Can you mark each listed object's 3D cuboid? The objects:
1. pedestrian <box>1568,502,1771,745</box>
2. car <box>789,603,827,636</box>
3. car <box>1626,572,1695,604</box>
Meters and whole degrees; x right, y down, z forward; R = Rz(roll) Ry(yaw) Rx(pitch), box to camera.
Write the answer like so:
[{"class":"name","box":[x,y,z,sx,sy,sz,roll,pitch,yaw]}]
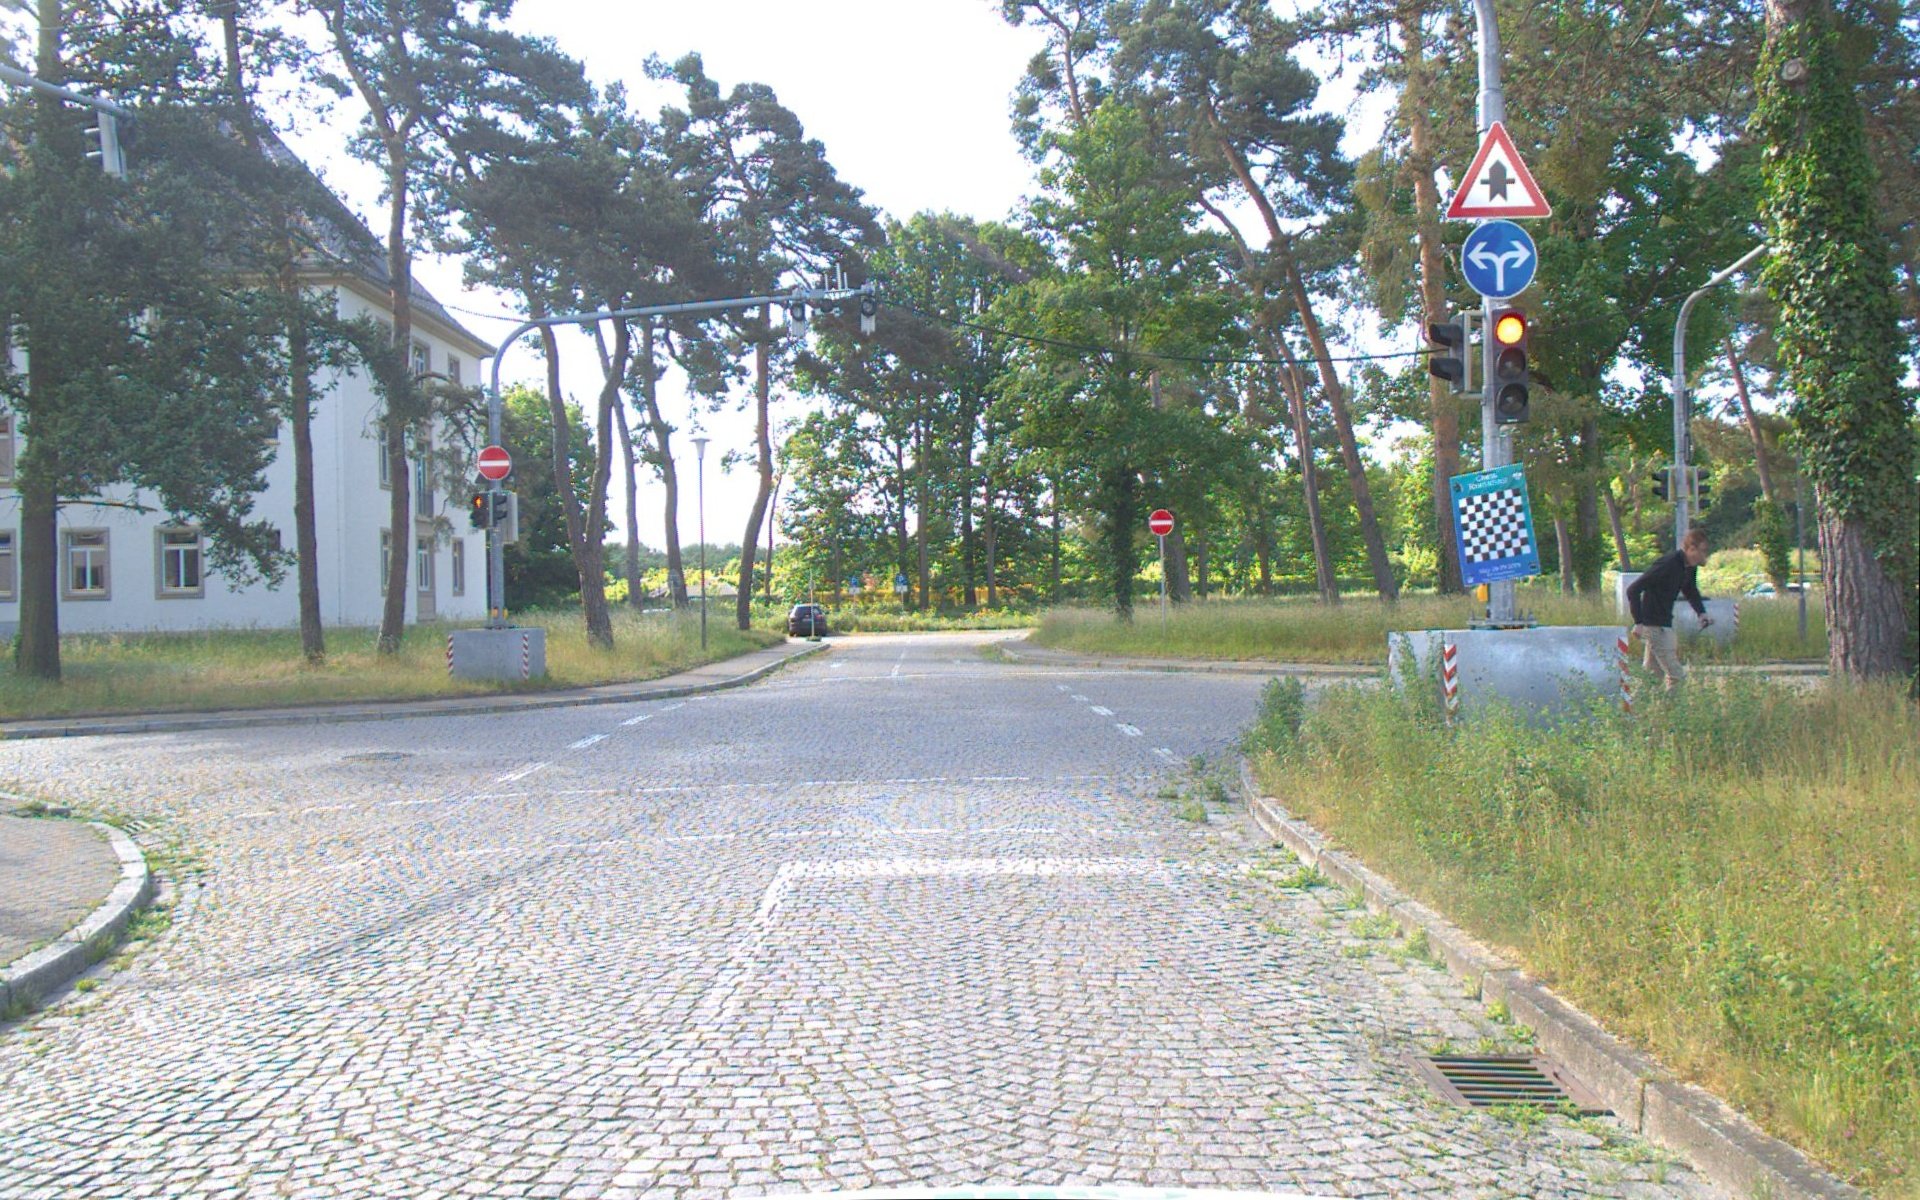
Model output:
[{"class":"pedestrian","box":[5.673,0.170,13.227,1.161,1.827,1.047,-2,0,-41]},{"class":"car","box":[-7.356,0.932,80.450,1.676,1.522,3.916,-2,0,-4]},{"class":"car","box":[37.021,-0.613,87.508,1.790,1.609,4.161,-2,0,-1]}]
